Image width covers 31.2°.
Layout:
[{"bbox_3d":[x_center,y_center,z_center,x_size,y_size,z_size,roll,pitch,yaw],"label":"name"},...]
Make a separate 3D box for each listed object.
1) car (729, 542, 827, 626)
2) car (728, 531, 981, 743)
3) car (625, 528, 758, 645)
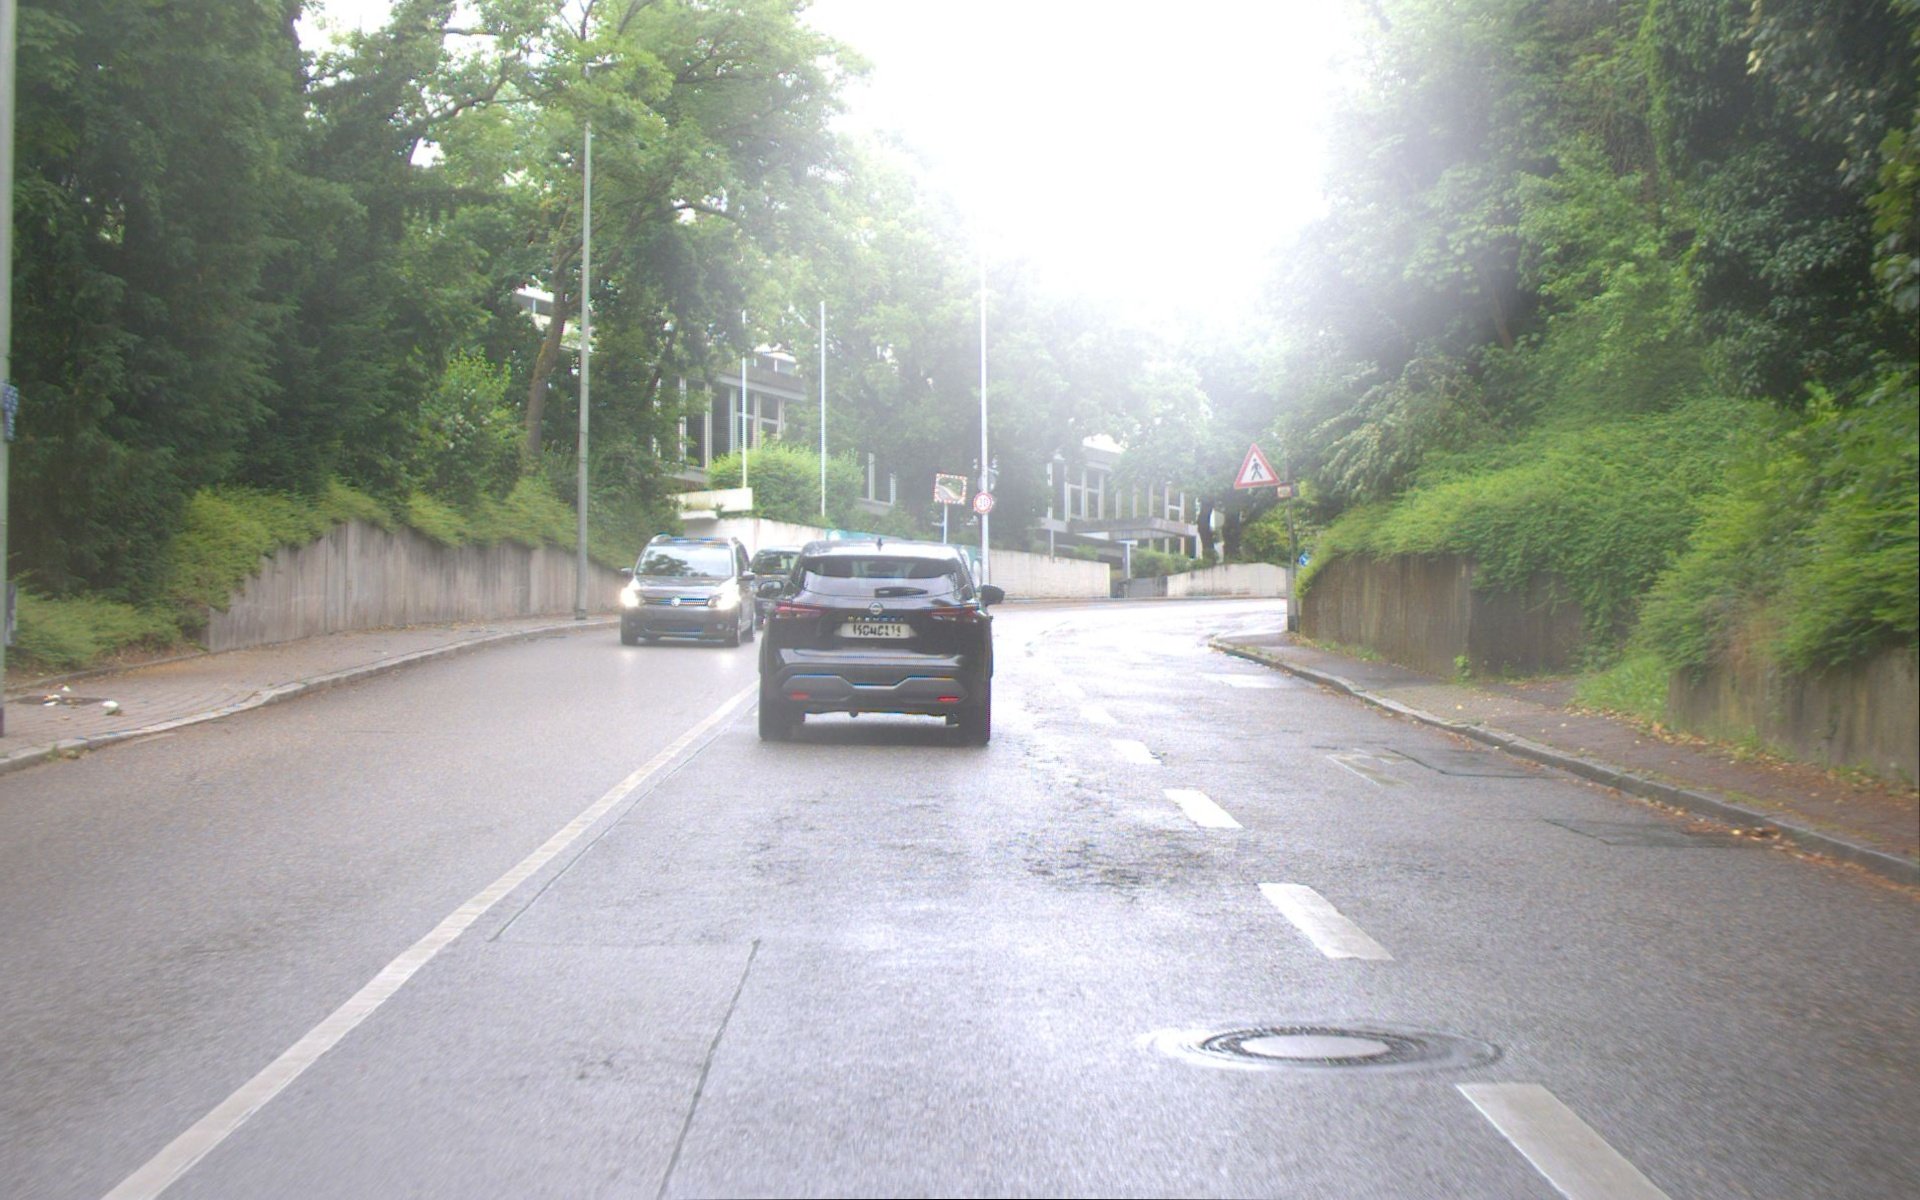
[{"bbox_3d":[-3.300,-0.311,62.832,1.675,1.491,3.460,0,1,-1],"label":"car"},{"bbox_3d":[-0.827,0.247,28.125,1.928,1.607,4.000,0,1,-1],"label":"car"},{"bbox_3d":[-4.053,-0.227,52.368,1.830,1.705,4.000,0,1,-2],"label":"car"}]
